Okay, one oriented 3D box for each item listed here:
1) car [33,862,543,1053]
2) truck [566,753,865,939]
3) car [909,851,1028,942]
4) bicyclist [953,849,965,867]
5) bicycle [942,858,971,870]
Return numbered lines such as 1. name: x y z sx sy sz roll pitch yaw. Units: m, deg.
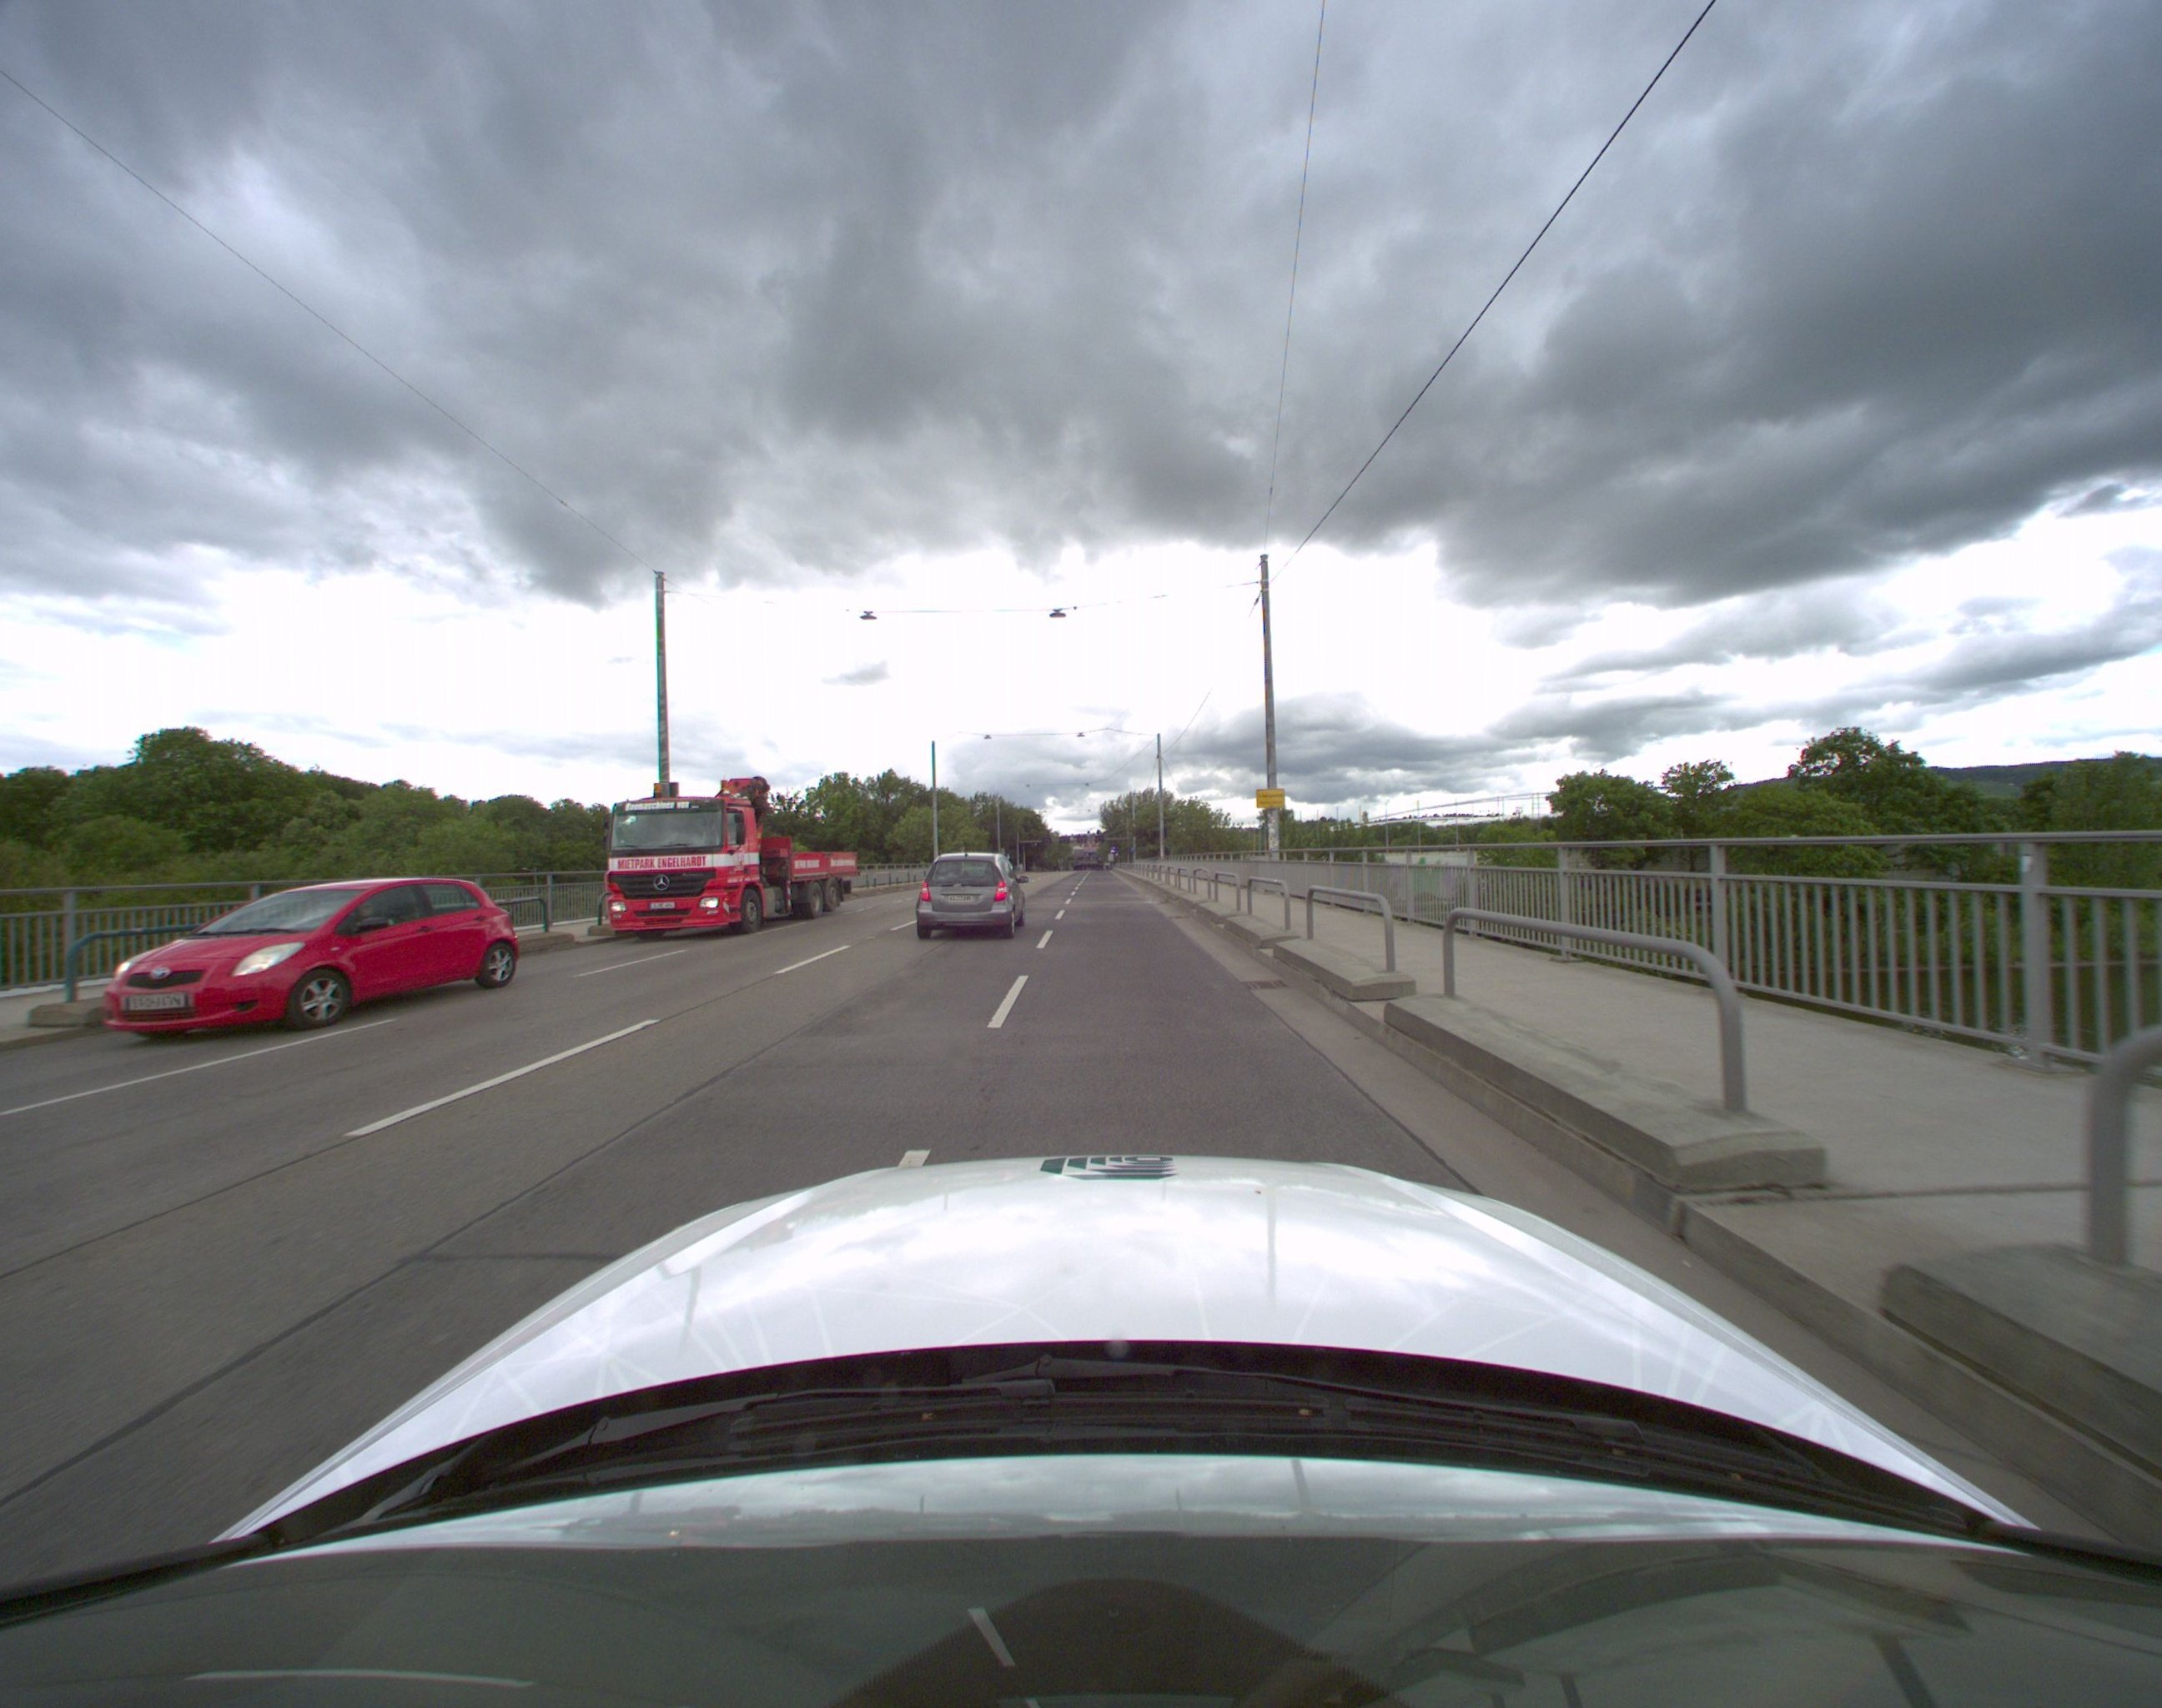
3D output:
1. car: -8.581 0.964 9.458 1.873 1.603 4.016 -3 0 1
2. truck: -8.599 -0.190 21.202 2.995 3.565 9.983 -3 0 1
3. car: -2.082 0.728 16.085 1.739 1.550 3.871 -1 0 1
4. bicyclist: -12.097 0.393 80.717 1.130 1.764 0.904 -1 -1 -4
5. bicycle: -12.300 0.986 80.703 2.785 1.051 0.919 -1 0 -5
